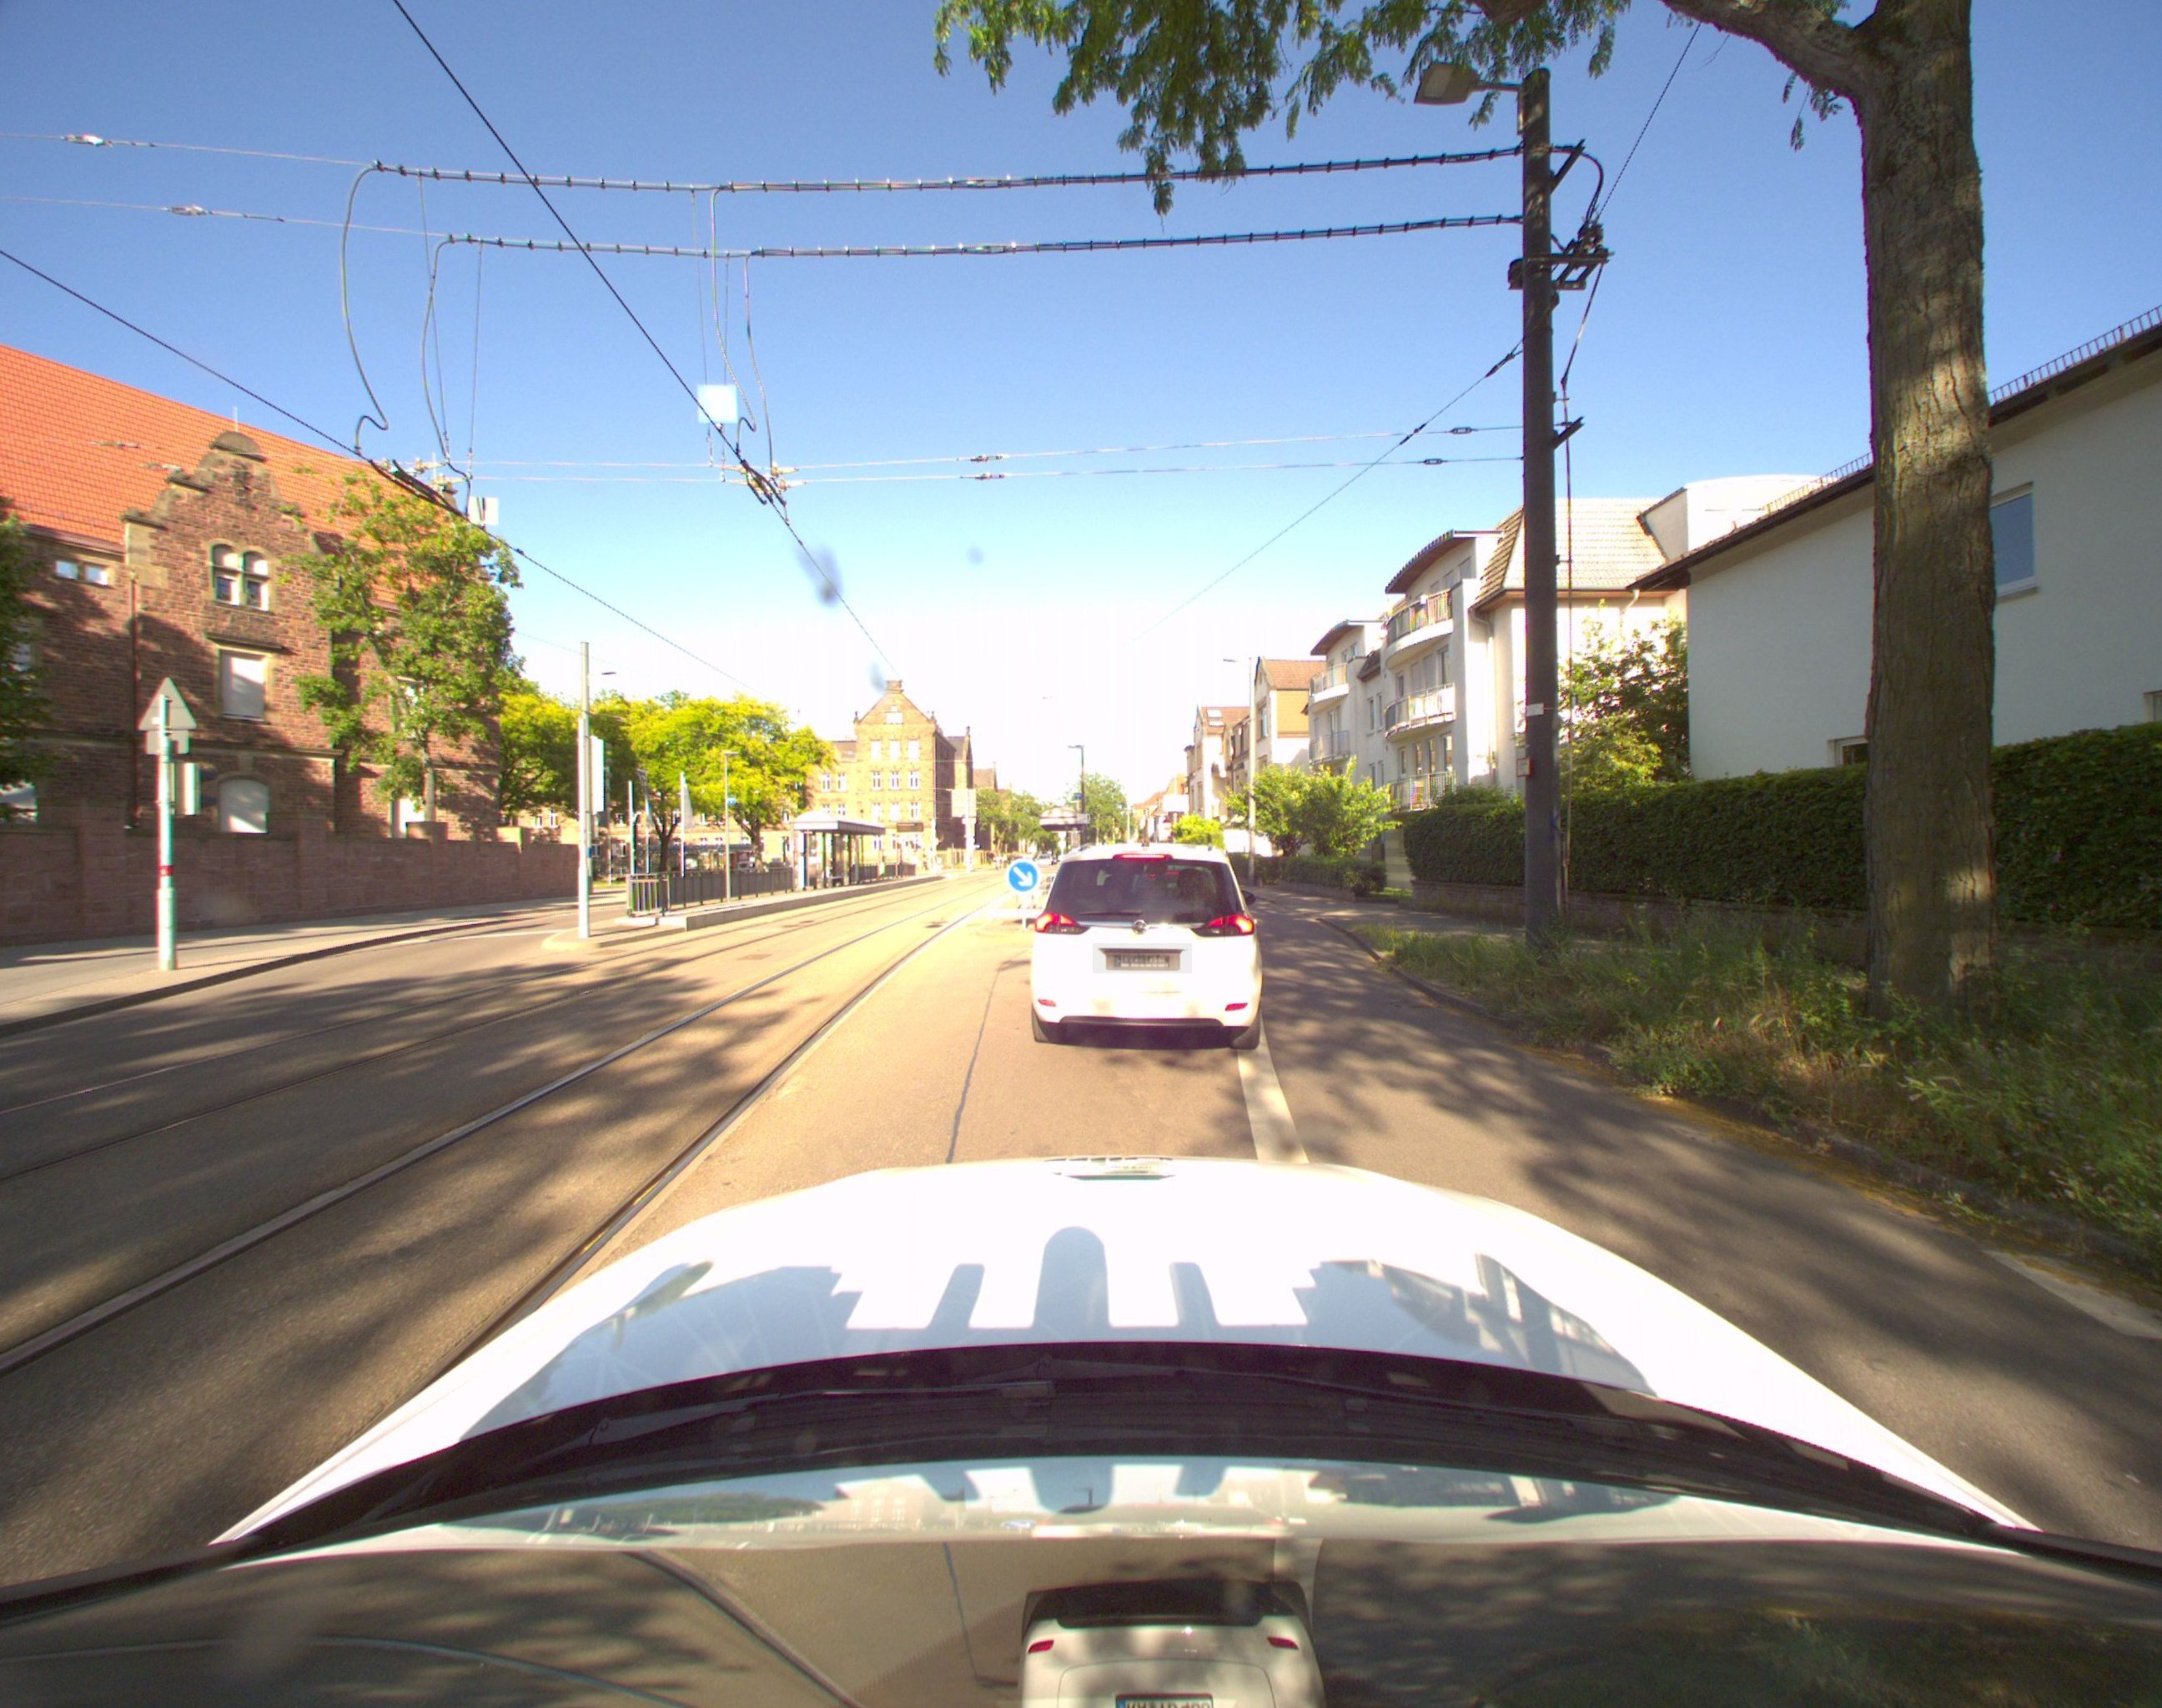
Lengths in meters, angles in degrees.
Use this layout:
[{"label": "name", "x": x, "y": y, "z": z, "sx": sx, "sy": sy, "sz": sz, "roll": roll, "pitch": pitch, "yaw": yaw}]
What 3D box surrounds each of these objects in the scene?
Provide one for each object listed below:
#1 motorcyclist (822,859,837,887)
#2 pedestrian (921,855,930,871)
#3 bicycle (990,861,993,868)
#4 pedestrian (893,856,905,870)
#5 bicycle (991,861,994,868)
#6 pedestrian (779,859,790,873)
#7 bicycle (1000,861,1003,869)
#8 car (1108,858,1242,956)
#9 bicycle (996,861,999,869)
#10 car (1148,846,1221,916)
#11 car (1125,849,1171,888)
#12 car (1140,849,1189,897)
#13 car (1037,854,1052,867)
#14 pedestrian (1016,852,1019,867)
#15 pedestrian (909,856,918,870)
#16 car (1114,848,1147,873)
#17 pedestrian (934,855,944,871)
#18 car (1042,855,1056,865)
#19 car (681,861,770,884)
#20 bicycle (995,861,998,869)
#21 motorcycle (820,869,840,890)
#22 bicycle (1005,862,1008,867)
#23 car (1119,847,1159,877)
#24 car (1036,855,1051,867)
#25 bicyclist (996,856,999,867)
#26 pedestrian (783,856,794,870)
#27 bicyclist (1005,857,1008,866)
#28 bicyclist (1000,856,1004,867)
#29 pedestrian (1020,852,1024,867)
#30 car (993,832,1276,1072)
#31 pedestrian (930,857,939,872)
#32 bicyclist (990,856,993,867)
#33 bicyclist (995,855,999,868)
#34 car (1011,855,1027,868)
[{"label": "motorcyclist", "x": -14.881, "y": 1.104, "z": 48.122, "sx": 0.612, "sy": 1.621, "sz": 0.844, "roll": -1, "pitch": 0, "yaw": -3}, {"label": "pedestrian", "x": -17.017, "y": 0.998, "z": 89.139, "sx": 0.839, "sy": 1.691, "sz": 1.029, "roll": 0, "pitch": -1, "yaw": 1}, {"label": "bicycle", "x": -12.678, "y": 1.535, "z": 115.635, "sx": 0.343, "sy": 0.950, "sz": 0.996, "roll": 0, "pitch": -1, "yaw": -1}, {"label": "pedestrian", "x": -19.990, "y": 0.993, "z": 89.359, "sx": 0.940, "sy": 1.588, "sz": 0.795, "roll": 0, "pitch": -1, "yaw": -44}, {"label": "bicycle", "x": -12.421, "y": 1.518, "z": 113.798, "sx": 0.343, "sy": 0.950, "sz": 0.996, "roll": 0, "pitch": -1, "yaw": -1}, {"label": "pedestrian", "x": -32.362, "y": 1.294, "z": 88.895, "sx": 0.932, "sy": 1.588, "sz": 0.801, "roll": 0, "pitch": 0, "yaw": -12}, {"label": "bicycle", "x": -10.661, "y": 1.471, "z": 109.608, "sx": 0.343, "sy": 0.950, "sz": 0.996, "roll": 0, "pitch": -1, "yaw": -1}, {"label": "car", "x": 1.534, "y": 0.792, "z": 14.065, "sx": 1.944, "sy": 1.397, "sz": 4.005, "roll": -1, "pitch": 0, "yaw": 4}, {"label": "bicycle", "x": -11.003, "y": 1.453, "z": 107.065, "sx": 0.343, "sy": 0.950, "sz": 0.996, "roll": 0, "pitch": -1, "yaw": -1}, {"label": "car", "x": 2.575, "y": 0.639, "z": 20.893, "sx": 1.630, "sy": 1.601, "sz": 3.859, "roll": -1, "pitch": 0, "yaw": 4}, {"label": "car", "x": 2.932, "y": 0.613, "z": 36.249, "sx": 1.824, "sy": 1.579, "sz": 4.012, "roll": -1, "pitch": 0, "yaw": 2}, {"label": "car", "x": 2.946, "y": 0.637, "z": 29.319, "sx": 1.630, "sy": 1.601, "sz": 3.859, "roll": -1, "pitch": 0, "yaw": 4}, {"label": "car", "x": -4.815, "y": 0.899, "z": 107.621, "sx": 1.989, "sy": 1.629, "sz": 3.996, "roll": -1, "pitch": 0, "yaw": -3}, {"label": "pedestrian", "x": -8.770, "y": 0.782, "z": 112.338, "sx": 0.443, "sy": 2.013, "sz": 0.495, "roll": -1, "pitch": 0, "yaw": -2}, {"label": "pedestrian", "x": -18.394, "y": 0.982, "z": 89.454, "sx": 0.799, "sy": 1.588, "sz": 0.934, "roll": 0, "pitch": -1, "yaw": -1}, {"label": "car", "x": 3.103, "y": 0.388, "z": 51.843, "sx": 1.986, "sy": 1.503, "sz": 4.002, "roll": -1, "pitch": 0, "yaw": 2}, {"label": "pedestrian", "x": -15.611, "y": 0.984, "z": 89.519, "sx": 0.892, "sy": 1.684, "sz": 1.029, "roll": 0, "pitch": -1, "yaw": 1}, {"label": "car", "x": -5.131, "y": 0.917, "z": 130.990, "sx": 1.987, "sy": 1.629, "sz": 4.000, "roll": -1, "pitch": 0, "yaw": 0}, {"label": "car", "x": -32.959, "y": 1.706, "z": 75.699, "sx": 6.926, "sy": 1.921, "sz": 2.992, "roll": -1, "pitch": 0, "yaw": 0}, {"label": "bicycle", "x": -10.715, "y": 1.422, "z": 103.523, "sx": 0.343, "sy": 0.950, "sz": 1.160, "roll": 0, "pitch": -1, "yaw": -1}, {"label": "motorcycle", "x": -14.878, "y": 1.490, "z": 48.266, "sx": 0.610, "sy": 1.198, "sz": 2.073, "roll": -1, "pitch": 0, "yaw": -3}, {"label": "bicycle", "x": -10.206, "y": 1.472, "z": 112.102, "sx": 0.343, "sy": 0.725, "sz": 0.996, "roll": 0, "pitch": -1, "yaw": -1}, {"label": "car", "x": 3.128, "y": 0.417, "z": 44.375, "sx": 1.986, "sy": 1.503, "sz": 4.002, "roll": -1, "pitch": 0, "yaw": 2}, {"label": "car", "x": -5.297, "y": 0.961, "z": 114.744, "sx": 1.989, "sy": 1.629, "sz": 3.996, "roll": -1, "pitch": 0, "yaw": -3}, {"label": "bicyclist", "x": -10.979, "y": 0.986, "z": 107.024, "sx": 0.443, "sy": 1.553, "sz": 0.495, "roll": -1, "pitch": 0, "yaw": -2}, {"label": "pedestrian", "x": -32.088, "y": 0.996, "z": 89.299, "sx": 0.929, "sy": 1.588, "sz": 0.804, "roll": -1, "pitch": 0, "yaw": -3}, {"label": "bicyclist", "x": -10.214, "y": 1.007, "z": 112.101, "sx": 0.358, "sy": 1.303, "sz": 0.397, "roll": -1, "pitch": 0, "yaw": -2}, {"label": "bicyclist", "x": -10.662, "y": 1.004, "z": 109.602, "sx": 0.443, "sy": 1.553, "sz": 0.495, "roll": -1, "pitch": 0, "yaw": -2}, {"label": "pedestrian", "x": -8.138, "y": 0.780, "z": 112.654, "sx": 0.443, "sy": 2.013, "sz": 0.495, "roll": -1, "pitch": 0, "yaw": -2}, {"label": "car", "x": 0.646, "y": 0.685, "z": 7.703, "sx": 1.982, "sy": 1.644, "sz": 4.003, "roll": 0, "pitch": 0, "yaw": 8}, {"label": "pedestrian", "x": -17.289, "y": 1.217, "z": 96.047, "sx": 0.728, "sy": 1.714, "sz": 0.710, "roll": -1, "pitch": -1, "yaw": 24}, {"label": "bicyclist", "x": -12.684, "y": 1.067, "z": 115.601, "sx": 0.443, "sy": 1.553, "sz": 0.495, "roll": -1, "pitch": 0, "yaw": -2}, {"label": "bicyclist", "x": -10.707, "y": 0.956, "z": 103.733, "sx": 0.443, "sy": 1.553, "sz": 0.742, "roll": -1, "pitch": 0, "yaw": -2}, {"label": "car", "x": -8.192, "y": 0.931, "z": 107.479, "sx": 1.989, "sy": 1.629, "sz": 3.996, "roll": -1, "pitch": 0, "yaw": -3}]
